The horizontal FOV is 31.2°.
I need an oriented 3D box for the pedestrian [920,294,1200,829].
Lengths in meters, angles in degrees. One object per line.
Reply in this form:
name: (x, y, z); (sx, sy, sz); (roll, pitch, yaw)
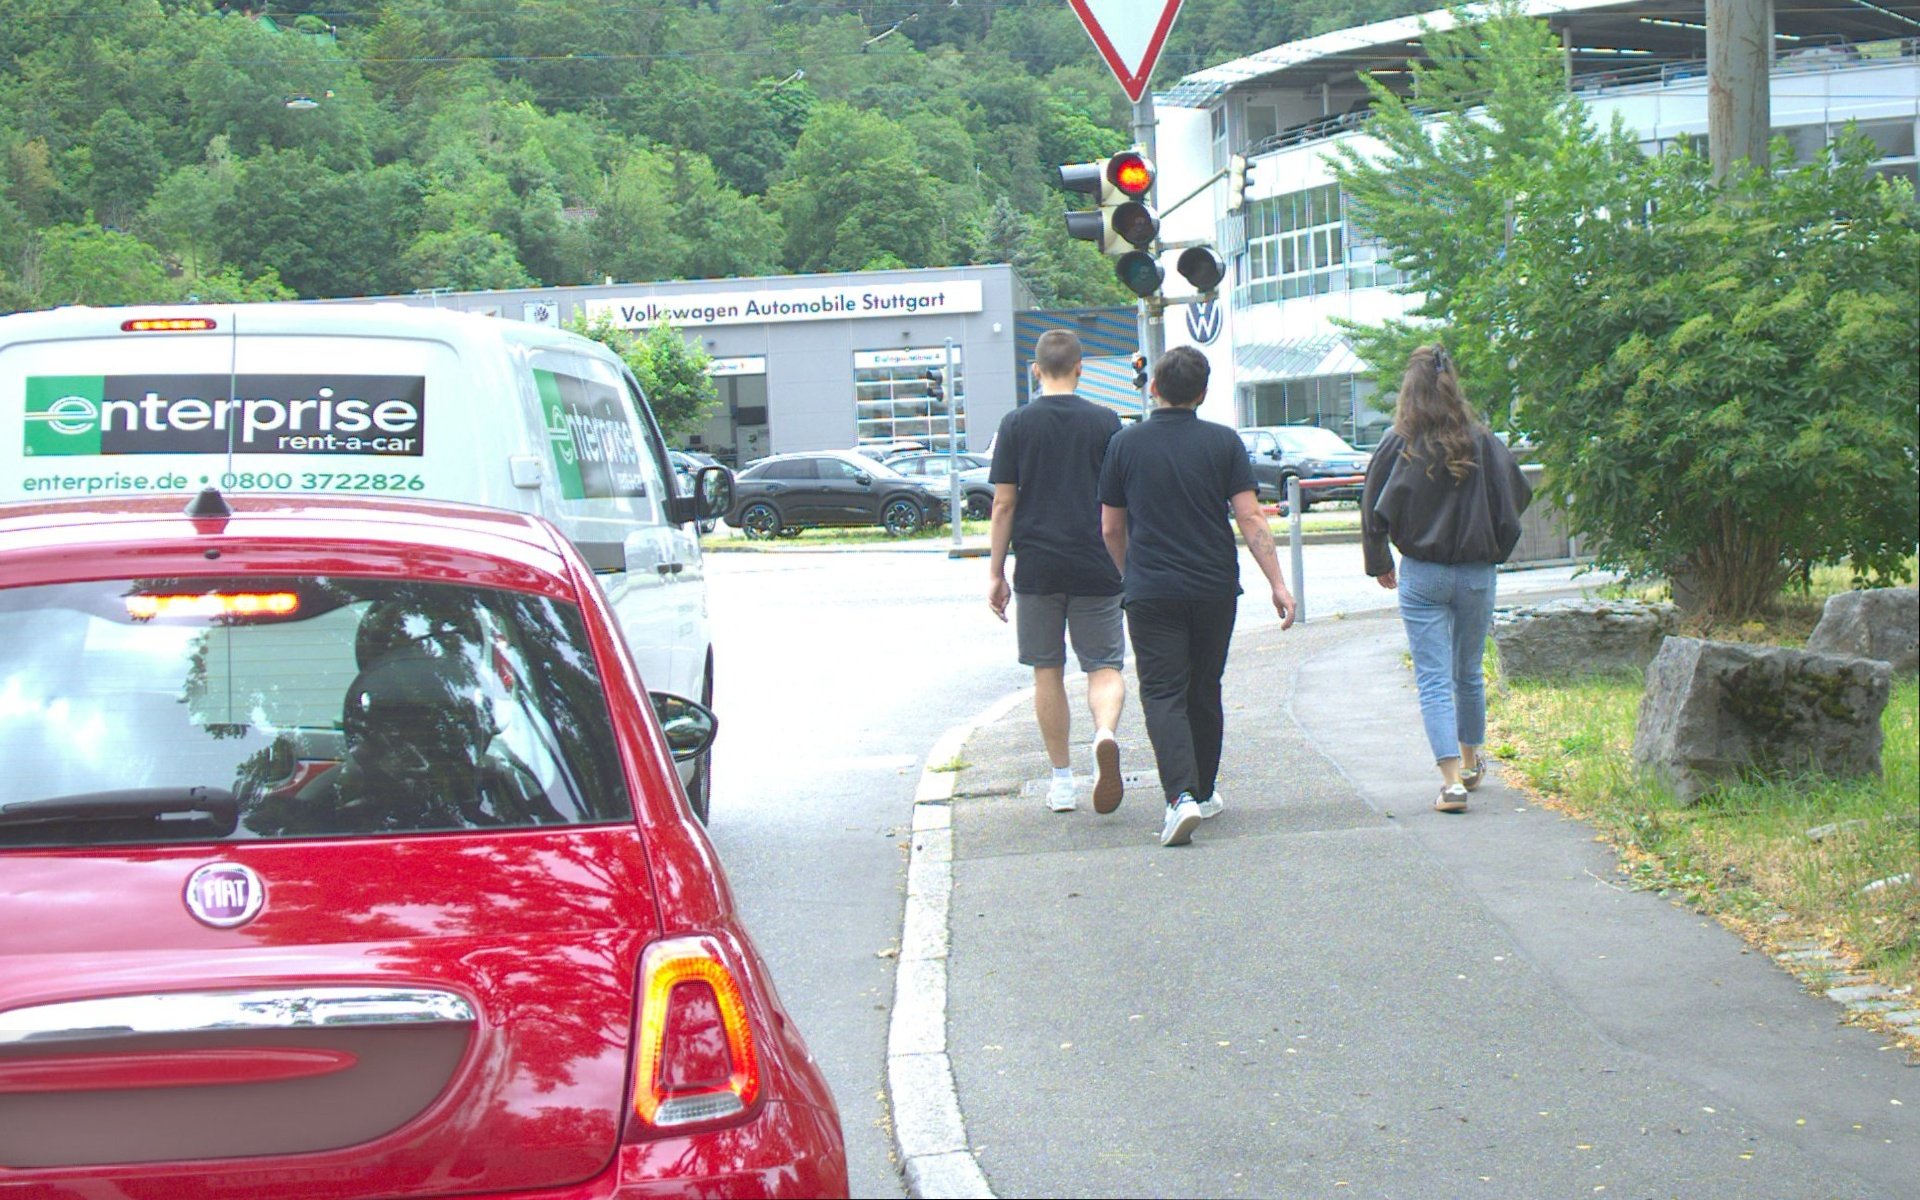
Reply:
pedestrian: (0.355, -0.150, 12.522); (0.693, 1.850, 0.788); (-4, 2, -19)

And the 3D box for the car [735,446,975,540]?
car: (-1.858, -1.921, 61.458); (3.871, 1.495, 1.774); (-2, 2, 17)

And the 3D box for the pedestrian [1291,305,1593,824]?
pedestrian: (1.688, -0.136, 12.105); (0.693, 1.733, 0.788); (-4, 2, -19)

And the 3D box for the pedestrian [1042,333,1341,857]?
pedestrian: (0.788, -0.031, 11.846); (0.693, 1.708, 0.788); (-4, 2, -19)

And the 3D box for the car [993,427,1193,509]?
car: (3.277, -3.257, 84.653); (4.796, 1.796, 1.776); (-2, 2, 2)

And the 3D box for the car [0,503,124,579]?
car: (-19.781, -1.276, 74.707); (1.770, 1.528, 4.090); (-4, 3, -33)

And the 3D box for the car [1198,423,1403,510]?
car: (6.434, -2.520, 65.212); (1.770, 1.495, 3.881); (-4, 3, -33)

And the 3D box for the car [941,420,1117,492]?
car: (1.945, -4.033, 96.239); (4.796, 1.796, 1.776); (-2, 2, 2)

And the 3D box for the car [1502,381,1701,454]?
car: (14.868, -4.233, 79.803); (4.212, 1.486, 1.792); (0, 3, 45)

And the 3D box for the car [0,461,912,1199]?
car: (-1.209, 0.542, 5.576); (1.638, 1.451, 3.432); (-2, 2, -12)

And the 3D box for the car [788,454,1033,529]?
car: (-1.004, -2.235, 70.586); (4.674, 1.323, 1.775); (-2, 2, 13)

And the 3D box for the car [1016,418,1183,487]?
car: (4.091, -4.331, 101.140); (4.796, 1.796, 1.776); (-2, 2, 2)

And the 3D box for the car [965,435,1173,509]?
car: (2.570, -3.027, 81.107); (4.796, 1.528, 1.776); (-2, 2, 2)

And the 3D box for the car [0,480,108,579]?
car: (-18.120, -1.428, 68.356); (1.859, 1.811, 4.404); (-3, 2, -9)

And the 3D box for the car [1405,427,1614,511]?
car: (10.658, -2.539, 66.933); (1.770, 1.495, 4.022); (-4, 3, -31)

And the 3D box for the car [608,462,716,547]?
car: (-6.800, -2.216, 78.833); (1.993, 1.809, 4.001); (-2, 2, 1)

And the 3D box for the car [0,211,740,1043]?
car: (-1.977, -0.011, 11.366); (1.989, 2.099, 4.762); (-3, 2, 1)

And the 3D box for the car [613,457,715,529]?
car: (-6.761, -2.472, 78.798); (1.770, 1.528, 4.091); (-2, 2, 2)

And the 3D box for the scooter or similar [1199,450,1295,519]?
scooter or similar: (5.212, -2.095, 62.408); (1.668, 1.173, 0.467); (-2, 2, 7)
